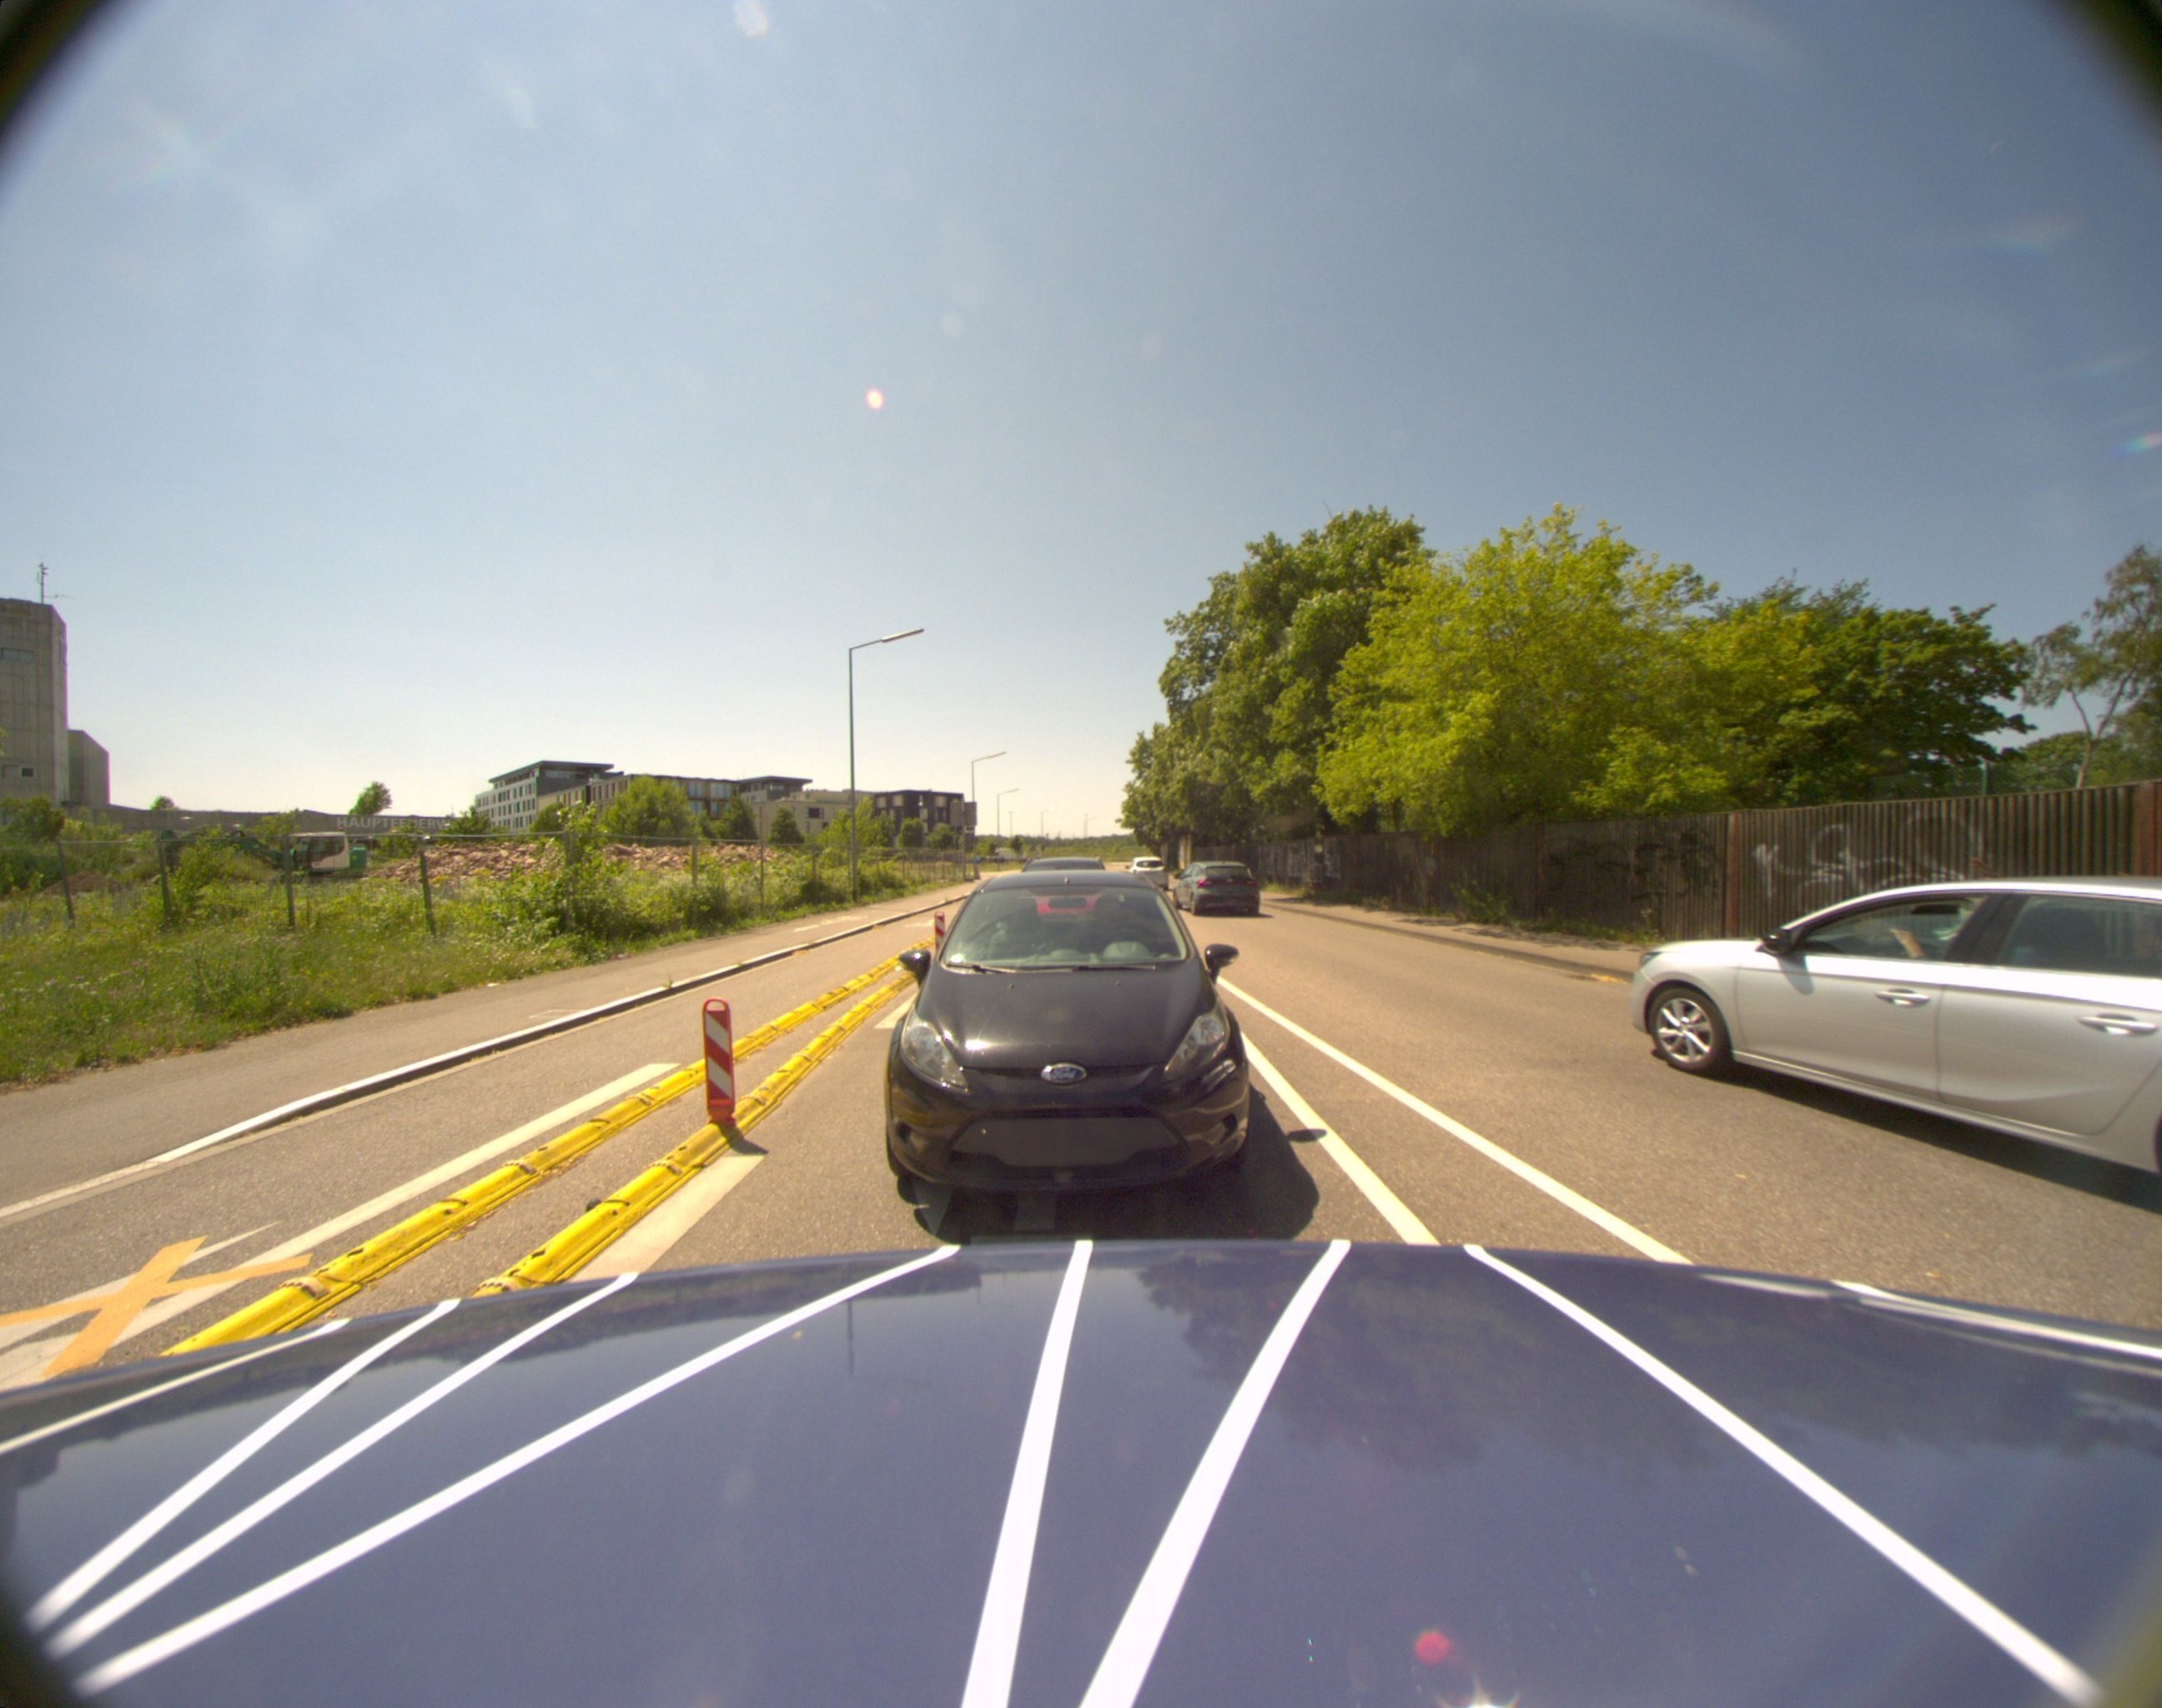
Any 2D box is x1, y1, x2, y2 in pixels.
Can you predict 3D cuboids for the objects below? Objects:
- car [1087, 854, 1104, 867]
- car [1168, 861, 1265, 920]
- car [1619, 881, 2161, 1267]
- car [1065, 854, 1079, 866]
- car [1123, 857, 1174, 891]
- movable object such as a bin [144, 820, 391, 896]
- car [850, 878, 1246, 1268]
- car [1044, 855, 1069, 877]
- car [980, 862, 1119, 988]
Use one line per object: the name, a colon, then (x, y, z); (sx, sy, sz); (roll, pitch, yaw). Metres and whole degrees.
car: (1.695, 0.777, 90.782); (1.759, 1.536, 3.693); (-1, 0, -2)
car: (3.696, 0.960, 21.389); (1.759, 1.477, 3.692); (-1, 0, -5)
car: (5.114, 0.937, 3.927); (1.719, 1.455, 3.841); (1, 0, -5)
car: (-1.152, 0.723, 98.227); (1.759, 1.536, 3.693); (-1, 0, -2)
car: (3.133, 0.892, 35.923); (1.759, 1.477, 3.692); (-1, 0, -5)
movable object such as a bin: (-37.996, 0.136, 36.034); (2.810, 3.131, 7.608); (-2, 1, 8)
car: (-0.111, 0.975, 5.073); (1.632, 1.499, 3.819); (-1, 0, 1)
car: (-1.828, 0.857, 56.017); (1.759, 1.536, 3.693); (-1, 0, -2)
car: (-0.361, 0.916, 11.592); (1.720, 1.518, 4.212); (-1, 0, 1)
